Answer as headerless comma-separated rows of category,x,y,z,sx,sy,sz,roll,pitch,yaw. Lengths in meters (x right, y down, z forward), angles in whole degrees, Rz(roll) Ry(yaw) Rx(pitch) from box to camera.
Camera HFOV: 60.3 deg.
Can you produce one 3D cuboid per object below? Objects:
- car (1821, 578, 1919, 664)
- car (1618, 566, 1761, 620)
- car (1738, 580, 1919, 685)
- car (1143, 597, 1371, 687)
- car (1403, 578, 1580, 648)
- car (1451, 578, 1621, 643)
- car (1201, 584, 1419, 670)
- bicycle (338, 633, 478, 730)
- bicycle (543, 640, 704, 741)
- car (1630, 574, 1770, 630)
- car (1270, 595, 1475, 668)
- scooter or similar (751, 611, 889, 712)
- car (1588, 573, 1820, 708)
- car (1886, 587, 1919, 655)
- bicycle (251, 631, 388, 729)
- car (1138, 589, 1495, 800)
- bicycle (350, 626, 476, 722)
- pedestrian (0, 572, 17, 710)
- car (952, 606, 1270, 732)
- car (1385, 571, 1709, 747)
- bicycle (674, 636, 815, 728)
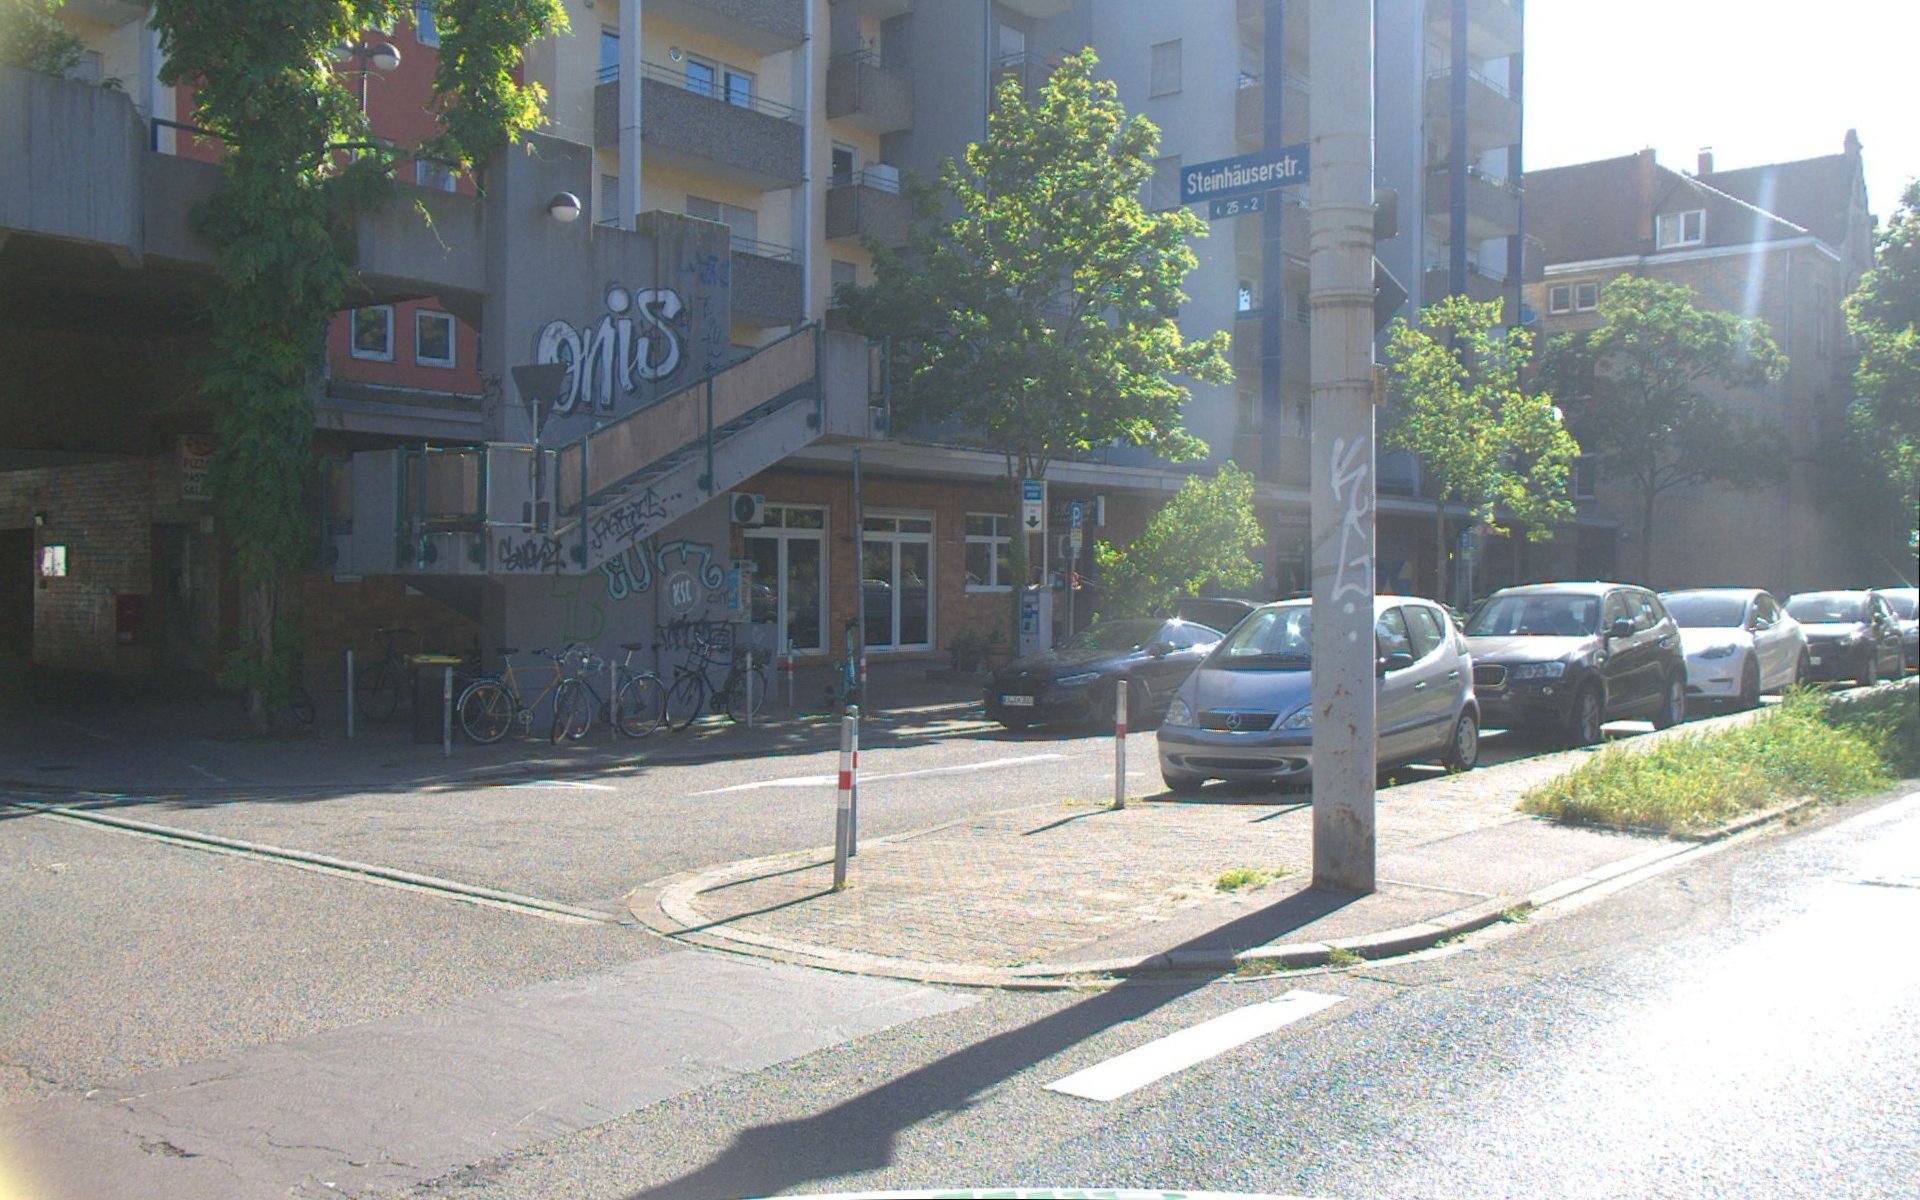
car,18.168,0.367,32.190,1.724,1.580,3.980,-1,0,39
car,23.264,-0.235,52.795,3.921,1.658,1.681,0,1,37
car,14.634,0.500,27.715,1.835,1.615,3.976,-1,0,42
car,5.596,0.744,31.354,3.921,1.578,1.763,0,1,37
car,13.312,0.293,41.509,3.921,1.658,1.681,0,1,37
car,15.121,0.245,43.500,3.921,1.658,1.681,0,1,37
car,7.042,0.497,33.391,3.921,1.635,1.834,0,1,37
bicycle,-6.335,0.920,18.985,1.578,1.018,0.415,2,2,17
bicycle,-3.825,1.015,18.883,1.780,1.048,0.410,0,3,-34
car,24.397,0.044,54.579,3.922,1.800,1.878,0,1,37
car,8.773,0.622,35.284,3.921,1.449,1.681,0,1,37
scooter or similar,-1.934,0.823,22.722,1.933,1.299,0.629,0,1,36
car,10.500,0.516,23.166,1.859,1.691,4.508,-2,-1,39
car,21.941,0.440,36.760,1.727,1.422,3.980,0,1,39
bicycle,-7.280,0.888,18.767,1.764,1.018,0.483,1,2,32
car,3.161,0.704,14.231,1.691,1.545,3.517,-1,0,37
bicycle,-6.554,0.864,19.776,1.764,1.018,0.414,2,3,33
pedestrian,-12.597,0.513,21.065,0.743,1.729,0.792,3,2,39
car,2.085,0.823,21.713,1.863,1.422,4.503,-1,0,42
car,6.441,0.536,17.851,1.840,1.656,4.480,-1,0,40
bicycle,-2.630,0.988,20.337,1.786,1.018,0.409,-1,4,-41
